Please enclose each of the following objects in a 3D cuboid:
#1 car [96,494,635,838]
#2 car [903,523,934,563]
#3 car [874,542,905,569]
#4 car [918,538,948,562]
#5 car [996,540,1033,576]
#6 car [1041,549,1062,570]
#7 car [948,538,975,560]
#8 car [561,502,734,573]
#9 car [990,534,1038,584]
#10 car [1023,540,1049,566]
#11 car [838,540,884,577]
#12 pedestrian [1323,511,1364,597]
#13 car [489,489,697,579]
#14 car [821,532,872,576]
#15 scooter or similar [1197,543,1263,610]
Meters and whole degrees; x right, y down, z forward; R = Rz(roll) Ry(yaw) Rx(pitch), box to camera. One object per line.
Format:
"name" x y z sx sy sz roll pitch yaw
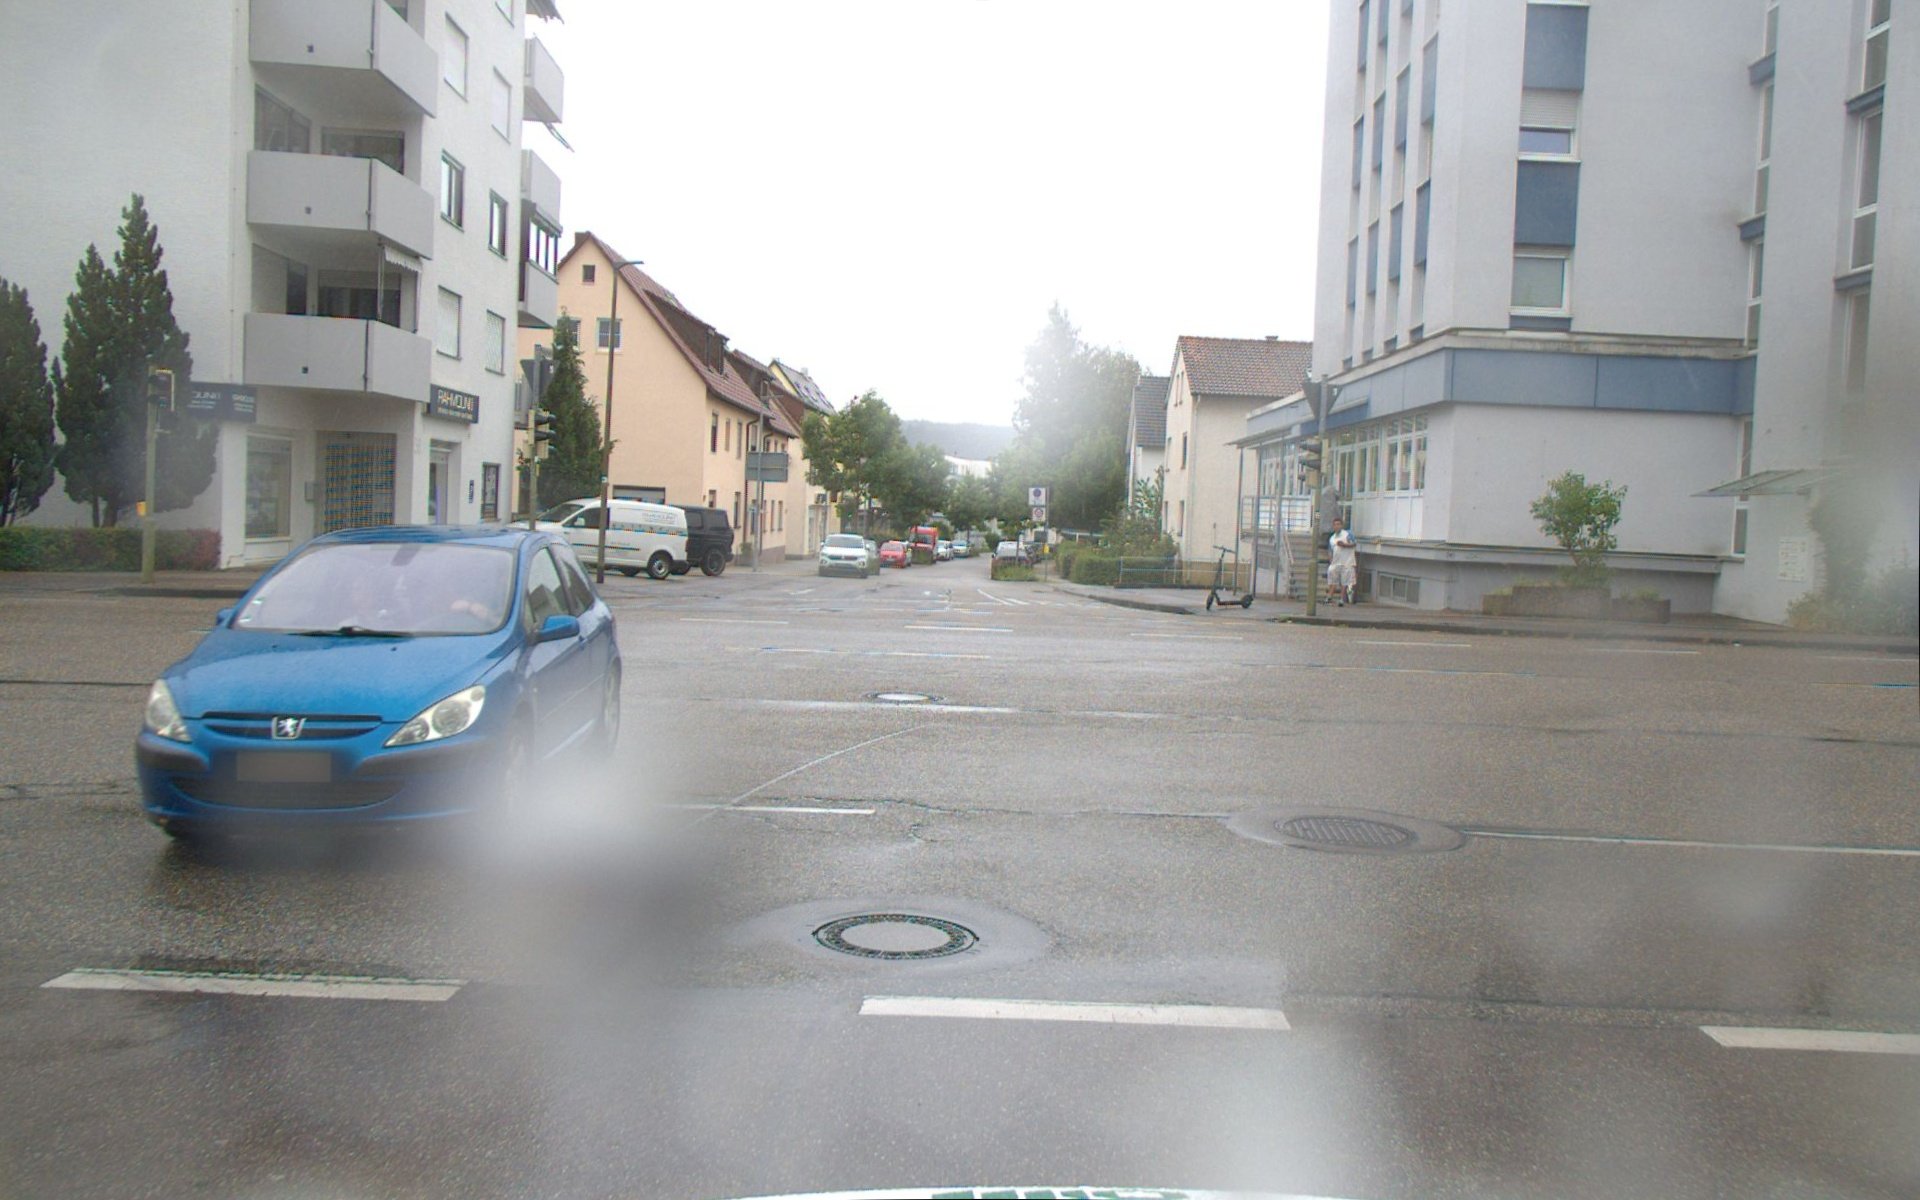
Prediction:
"car" -2.987 0.318 9.251 1.732 1.471 3.997 1 -1 -3
"car" -3.004 -4.098 120.599 2.171 2.816 5.724 1 1 -1
"car" -4.156 -2.610 97.457 1.732 1.545 3.998 1 1 -3
"car" -2.142 -3.973 131.994 1.951 1.713 4.002 1 -1 4
"car" 3.197 -2.452 96.914 1.951 2.048 4.003 1 1 5
"car" 9.104 -4.050 164.232 1.951 2.048 4.003 1 1 5
"car" 0.144 -4.548 147.397 1.951 1.736 4.002 1 -1 6
"car" -8.984 -1.774 47.730 4.578 1.922 1.935 0 1 -40
"car" 2.470 -1.816 74.604 1.951 2.049 4.002 1 -1 5
"car" 6.059 -3.731 131.388 1.951 2.048 4.003 1 1 5
"car" -4.331 -1.839 72.826 1.731 1.545 4.194 1 1 0
"pedestrian" 7.672 -0.907 33.096 0.641 1.681 0.646 1 -1 0
"car" -9.004 -1.594 40.855 4.684 1.809 1.748 4 -1 -40
"car" -4.170 -1.689 61.146 1.732 1.549 3.999 1 1 -2
"scooter or similar" 5.217 -0.442 31.939 1.039 1.249 0.800 2 -1 -10
